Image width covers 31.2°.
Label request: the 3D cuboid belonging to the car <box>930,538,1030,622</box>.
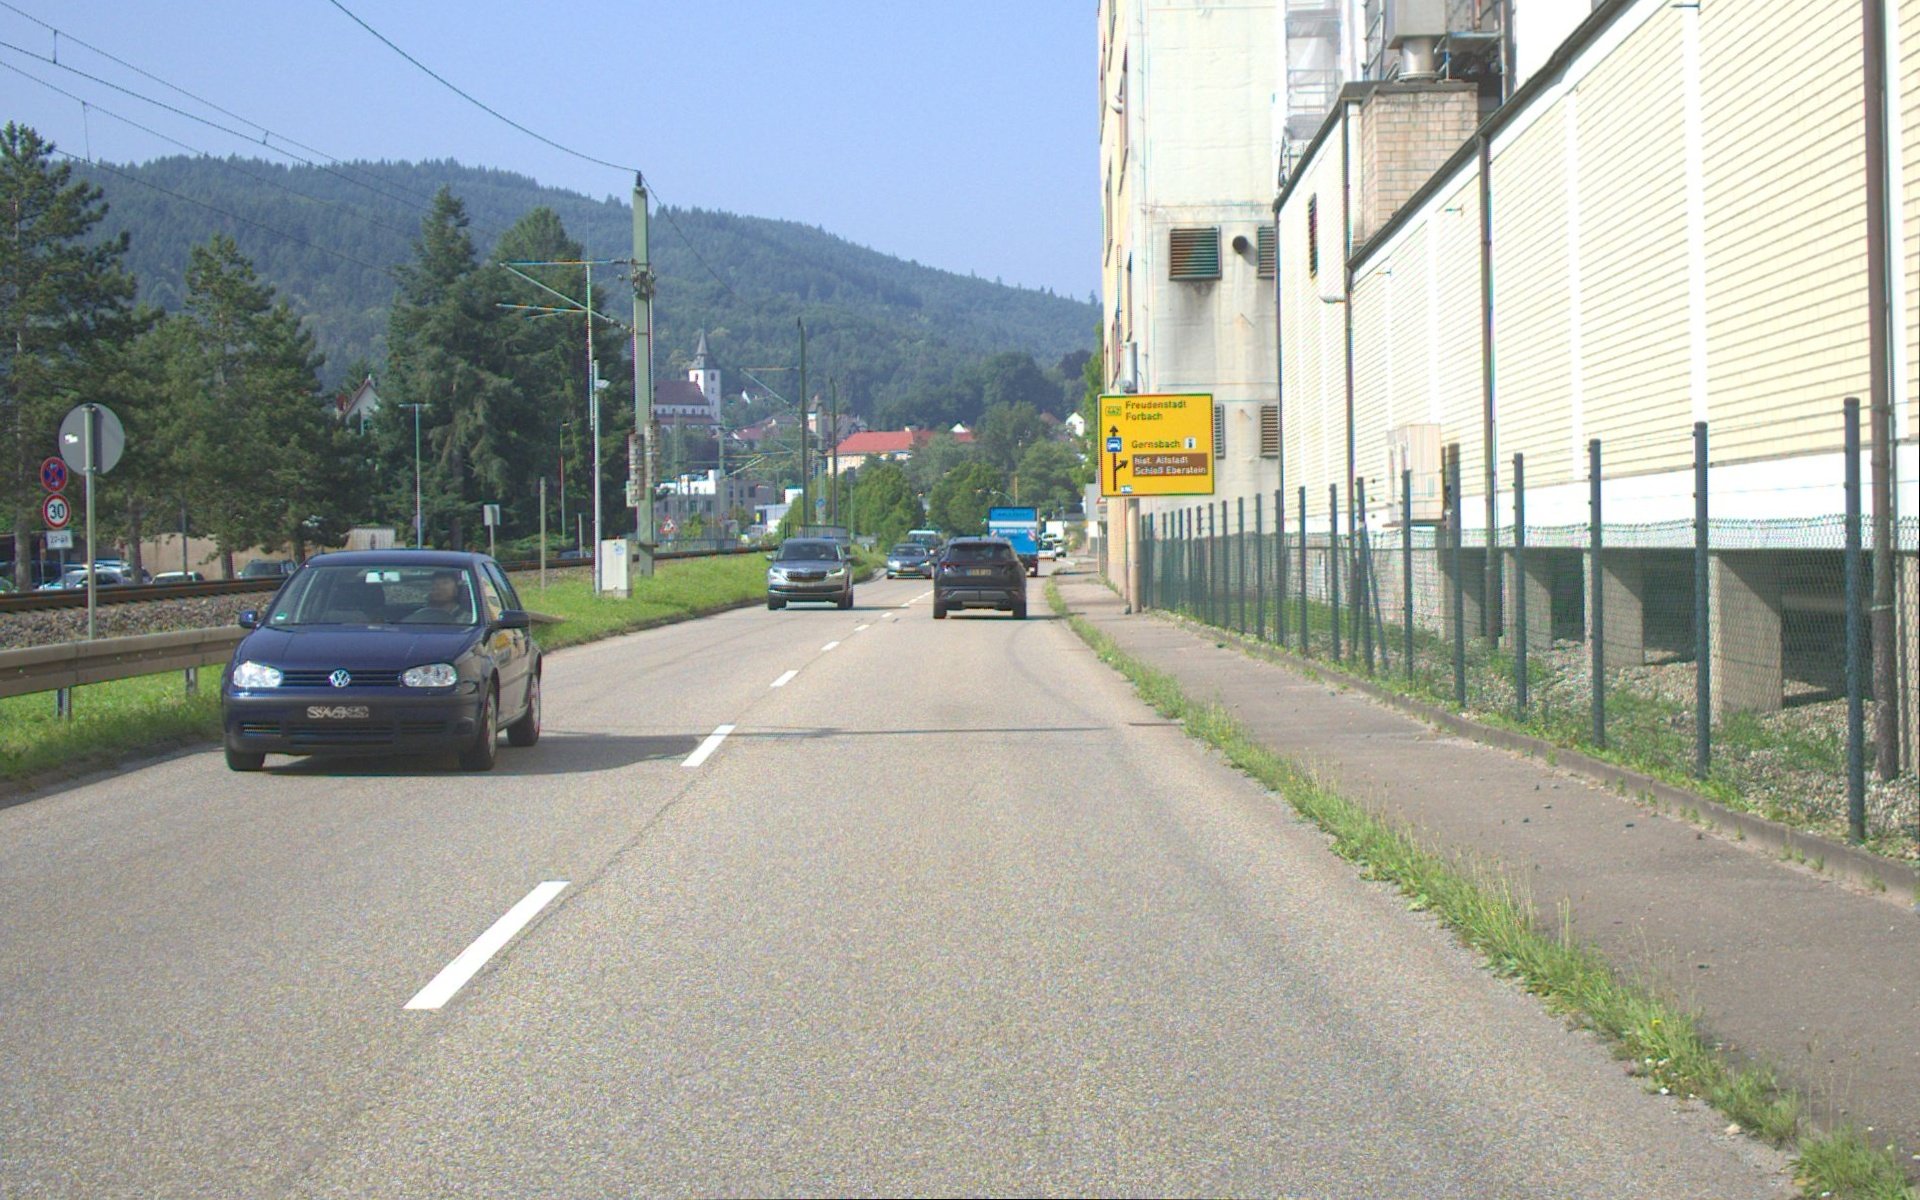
[{"bbox_3d":[0.437,-0.420,69.696,1.919,1.634,4.000,-1,1,2],"label":"car"}]

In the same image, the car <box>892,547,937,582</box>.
[{"bbox_3d":[-1.881,-1.497,143.107,1.767,1.400,4.297,-1,1,0],"label":"car"}]

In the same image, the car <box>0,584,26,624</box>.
[{"bbox_3d":[-33.606,0.161,117.102,3.532,1.321,1.454,-1,1,34],"label":"car"}]

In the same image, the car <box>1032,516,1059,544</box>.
[{"bbox_3d":[5.549,-4.521,222.502,1.667,1.816,3.751,-1,1,2],"label":"car"}]

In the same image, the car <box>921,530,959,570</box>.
[{"bbox_3d":[-1.039,-2.637,182.253,1.758,2.071,4.807,1,1,2],"label":"car"}]

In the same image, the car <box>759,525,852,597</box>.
[{"bbox_3d":[-3.542,-0.892,79.412,1.906,1.595,4.570,0,0,0],"label":"car"}]

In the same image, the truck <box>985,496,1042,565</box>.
[{"bbox_3d":[2.333,-3.056,151.218,2.312,2.960,5.966,-1,1,-1],"label":"truck"}]

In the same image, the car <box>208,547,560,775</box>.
[{"bbox_3d":[-3.843,0.351,23.585,1.764,1.398,4.120,0,1,-1],"label":"car"}]
